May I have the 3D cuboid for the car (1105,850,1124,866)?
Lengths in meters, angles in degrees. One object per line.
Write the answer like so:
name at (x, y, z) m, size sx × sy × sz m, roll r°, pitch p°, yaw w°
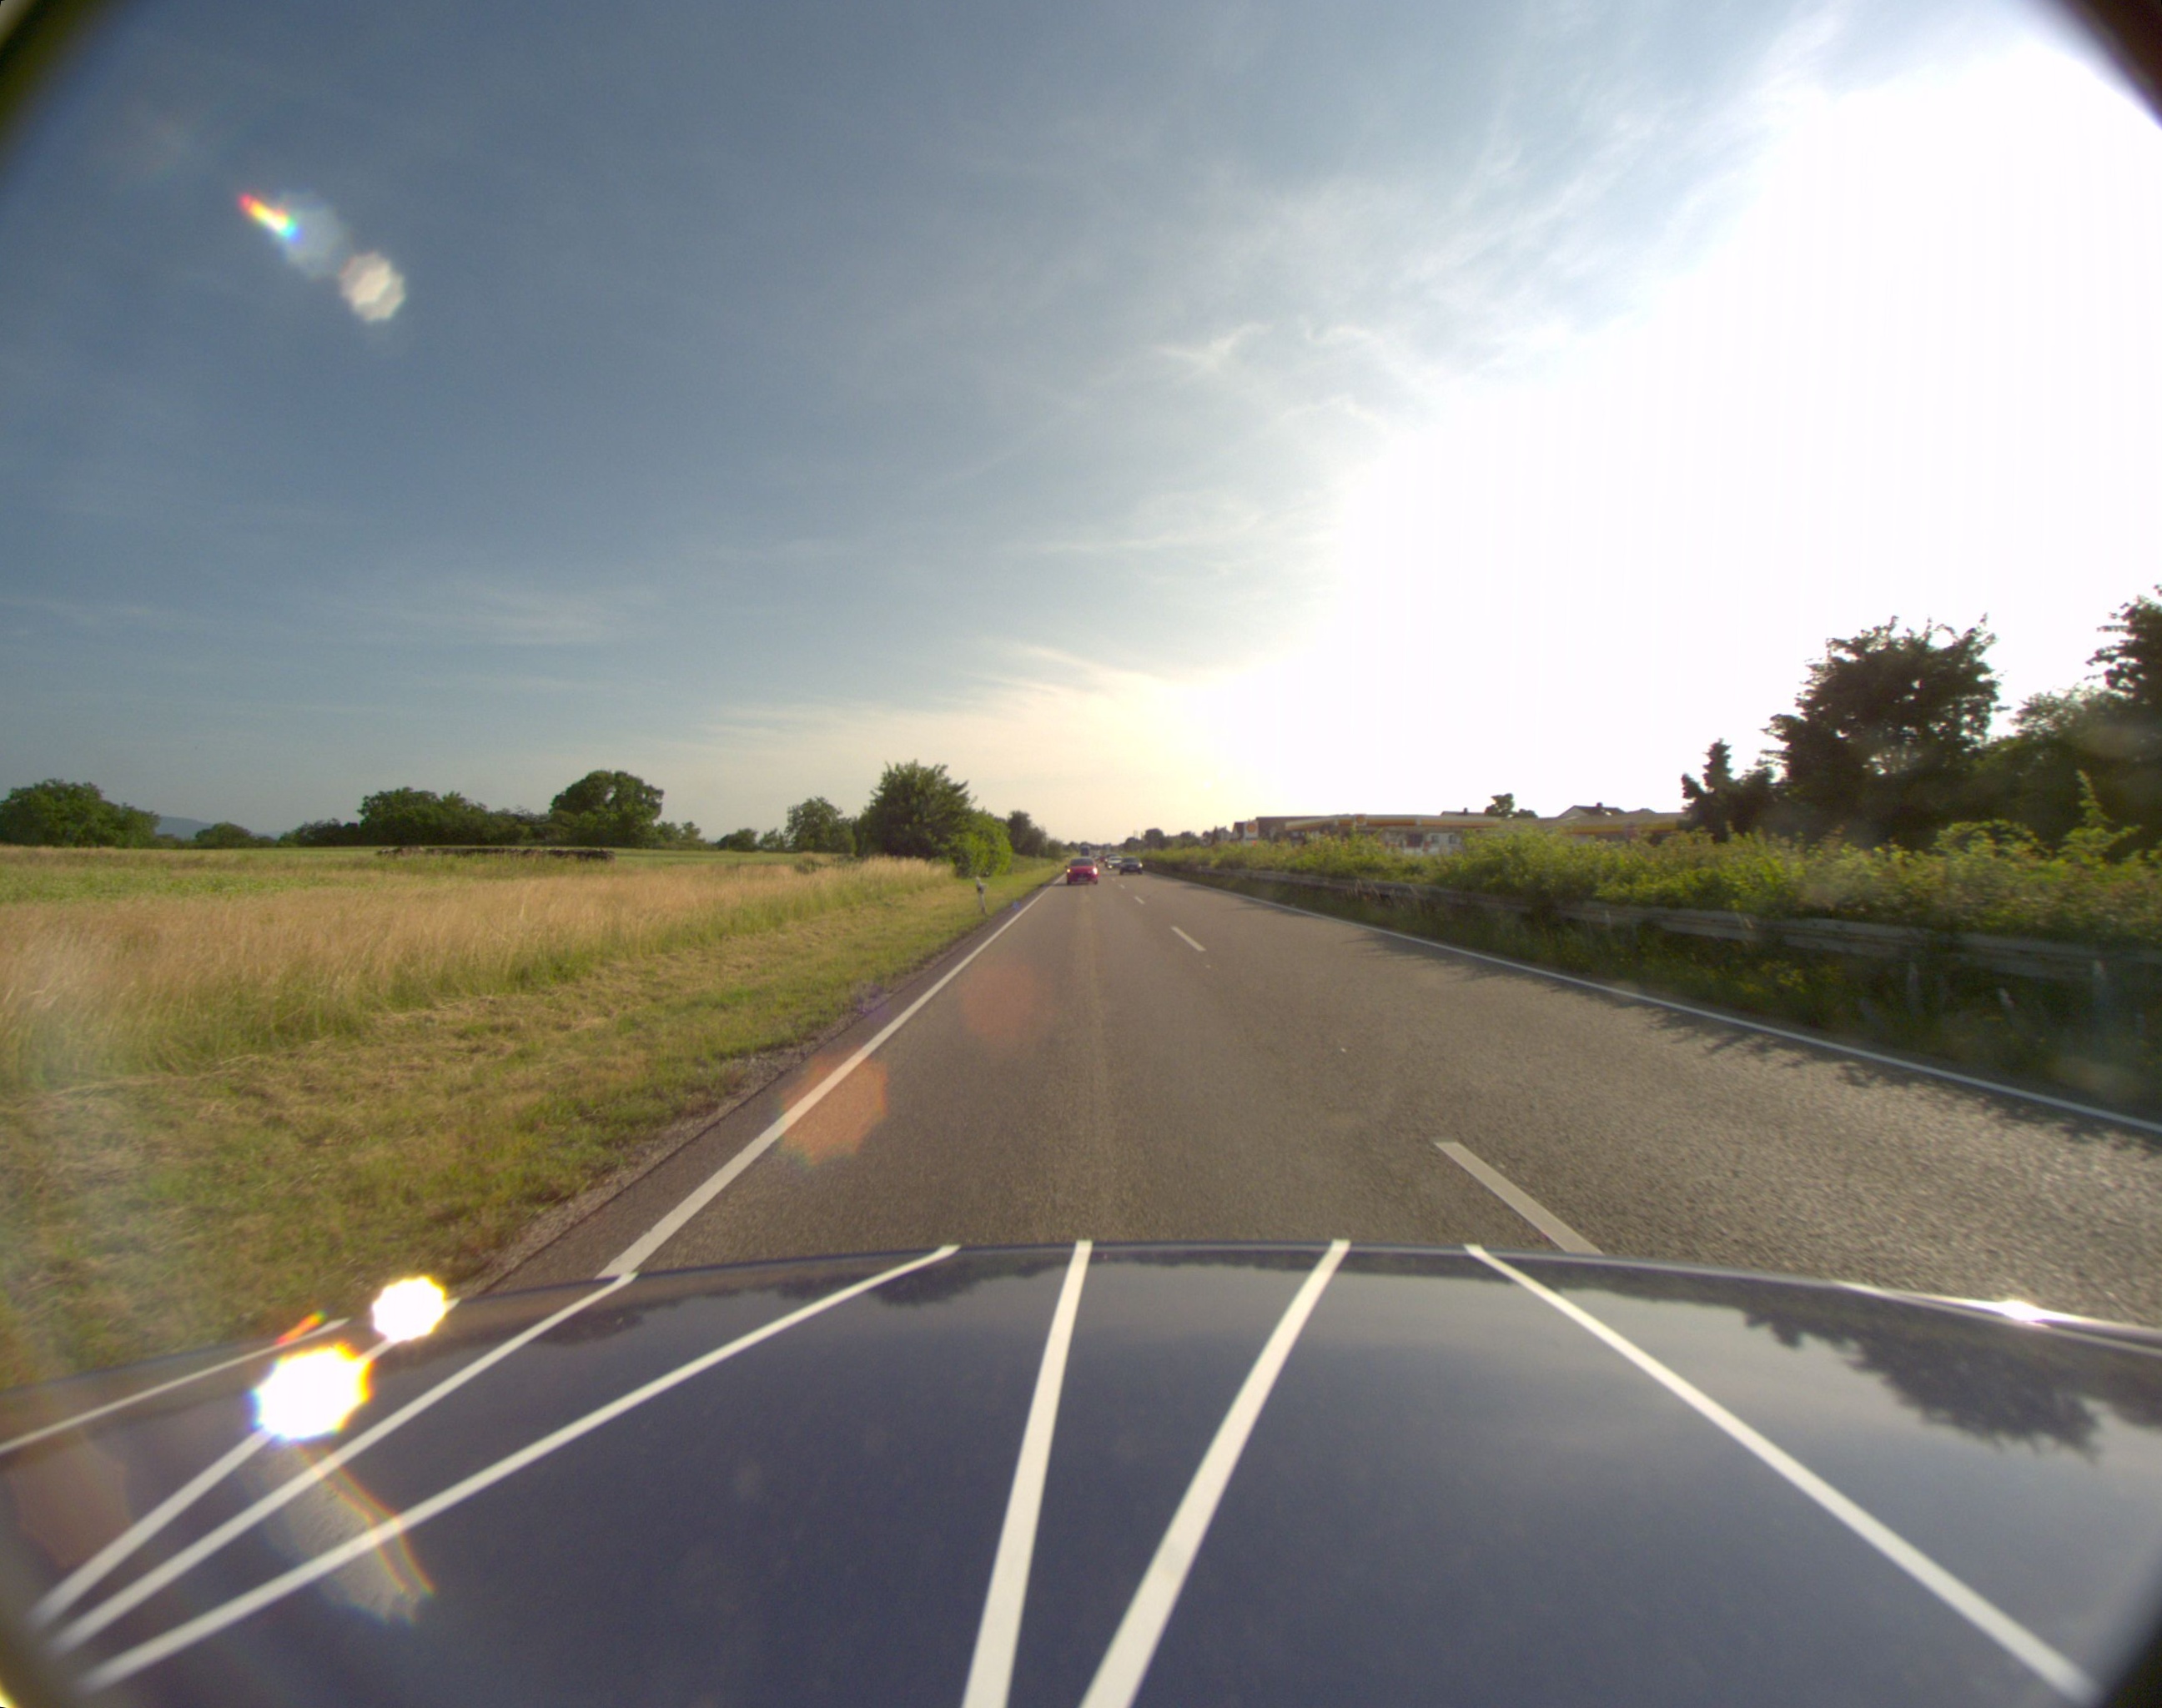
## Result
car at (3.725, 0.429, 85.351) m, size 1.998 × 1.762 × 4.000 m, roll -1°, pitch 1°, yaw 2°

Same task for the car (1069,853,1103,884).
car at (0.331, 0.786, 42.810) m, size 1.821 × 1.565 × 4.000 m, roll -1°, pitch 1°, yaw 2°

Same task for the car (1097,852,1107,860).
car at (4.415, 0.429, 159.208) m, size 1.998 × 1.412 × 4.000 m, roll -1°, pitch 1°, yaw 2°

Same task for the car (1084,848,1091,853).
car at (1.884, -0.963, 215.674) m, size 1.998 × 1.412 × 4.000 m, roll -1°, pitch 1°, yaw 2°

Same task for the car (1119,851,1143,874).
car at (4.027, 0.675, 61.444) m, size 1.693 × 1.695 × 4.000 m, roll -1°, pitch 1°, yaw 1°
